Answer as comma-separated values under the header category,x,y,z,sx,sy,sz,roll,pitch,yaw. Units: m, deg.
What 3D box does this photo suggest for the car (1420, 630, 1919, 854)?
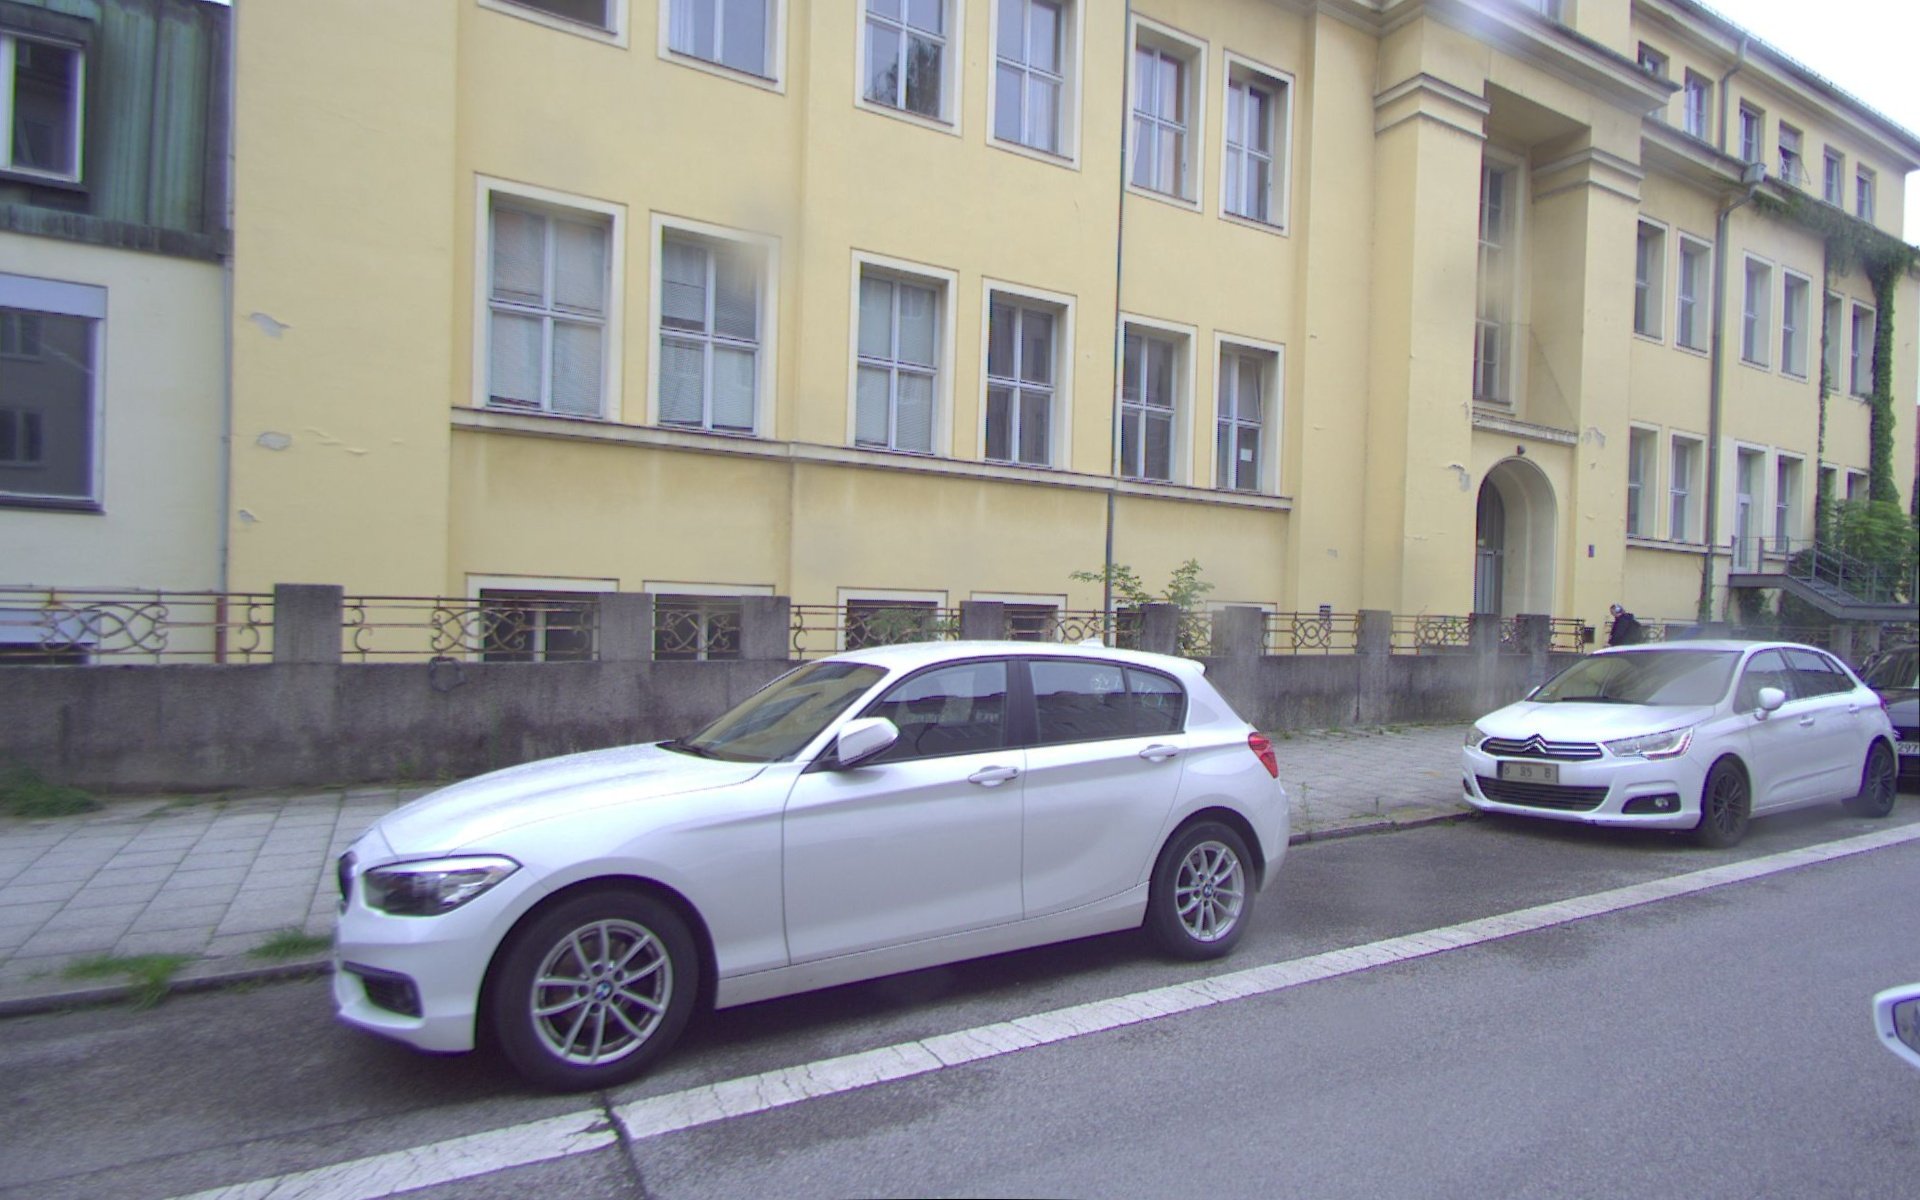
category,x,y,z,sx,sy,sz,roll,pitch,yaw
car,6.169,1.063,8.469,4.596,1.450,1.778,2,-5,-29

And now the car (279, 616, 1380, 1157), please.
category,x,y,z,sx,sy,sz,roll,pitch,yaw
car,-0.296,0.886,4.688,4.611,1.448,1.785,2,-4,-31

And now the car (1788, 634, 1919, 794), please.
category,x,y,z,sx,sy,sz,roll,pitch,yaw
car,10.832,1.163,10.706,4.099,1.516,1.692,2,-4,-29

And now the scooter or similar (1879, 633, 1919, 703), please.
category,x,y,z,sx,sy,sz,roll,pitch,yaw
scooter or similar,19.739,1.402,20.832,1.483,1.387,0.558,2,-1,-29

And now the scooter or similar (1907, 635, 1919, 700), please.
category,x,y,z,sx,sy,sz,roll,pitch,yaw
scooter or similar,21.057,1.455,21.616,1.483,1.387,0.558,2,-1,-29

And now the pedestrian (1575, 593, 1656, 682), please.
category,x,y,z,sx,sy,sz,roll,pitch,yaw
pedestrian,13.059,0.743,20.035,1.040,1.742,0.902,1,-1,-13

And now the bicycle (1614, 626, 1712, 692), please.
category,x,y,z,sx,sy,sz,roll,pitch,yaw
bicycle,14.711,1.213,21.057,0.520,1.285,1.620,1,-1,-27

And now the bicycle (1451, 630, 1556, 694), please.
category,x,y,z,sx,sy,sz,roll,pitch,yaw
bicycle,9.803,1.098,18.173,0.422,1.064,1.646,1,-1,-35

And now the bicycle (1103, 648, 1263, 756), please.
category,x,y,z,sx,sy,sz,roll,pitch,yaw
bicycle,2.400,1.083,10.816,1.615,1.077,0.537,2,0,-19

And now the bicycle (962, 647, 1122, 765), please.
category,x,y,z,sx,sy,sz,roll,pitch,yaw
bicycle,0.851,1.026,10.161,1.625,1.077,0.570,2,0,-38

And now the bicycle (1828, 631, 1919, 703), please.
category,x,y,z,sx,sy,sz,roll,pitch,yaw
bicycle,18.030,1.314,19.807,2.087,1.346,0.678,2,0,-29

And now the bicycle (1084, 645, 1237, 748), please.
category,x,y,z,sx,sy,sz,roll,pitch,yaw
bicycle,2.263,1.079,11.347,1.615,1.077,0.537,2,0,-19
